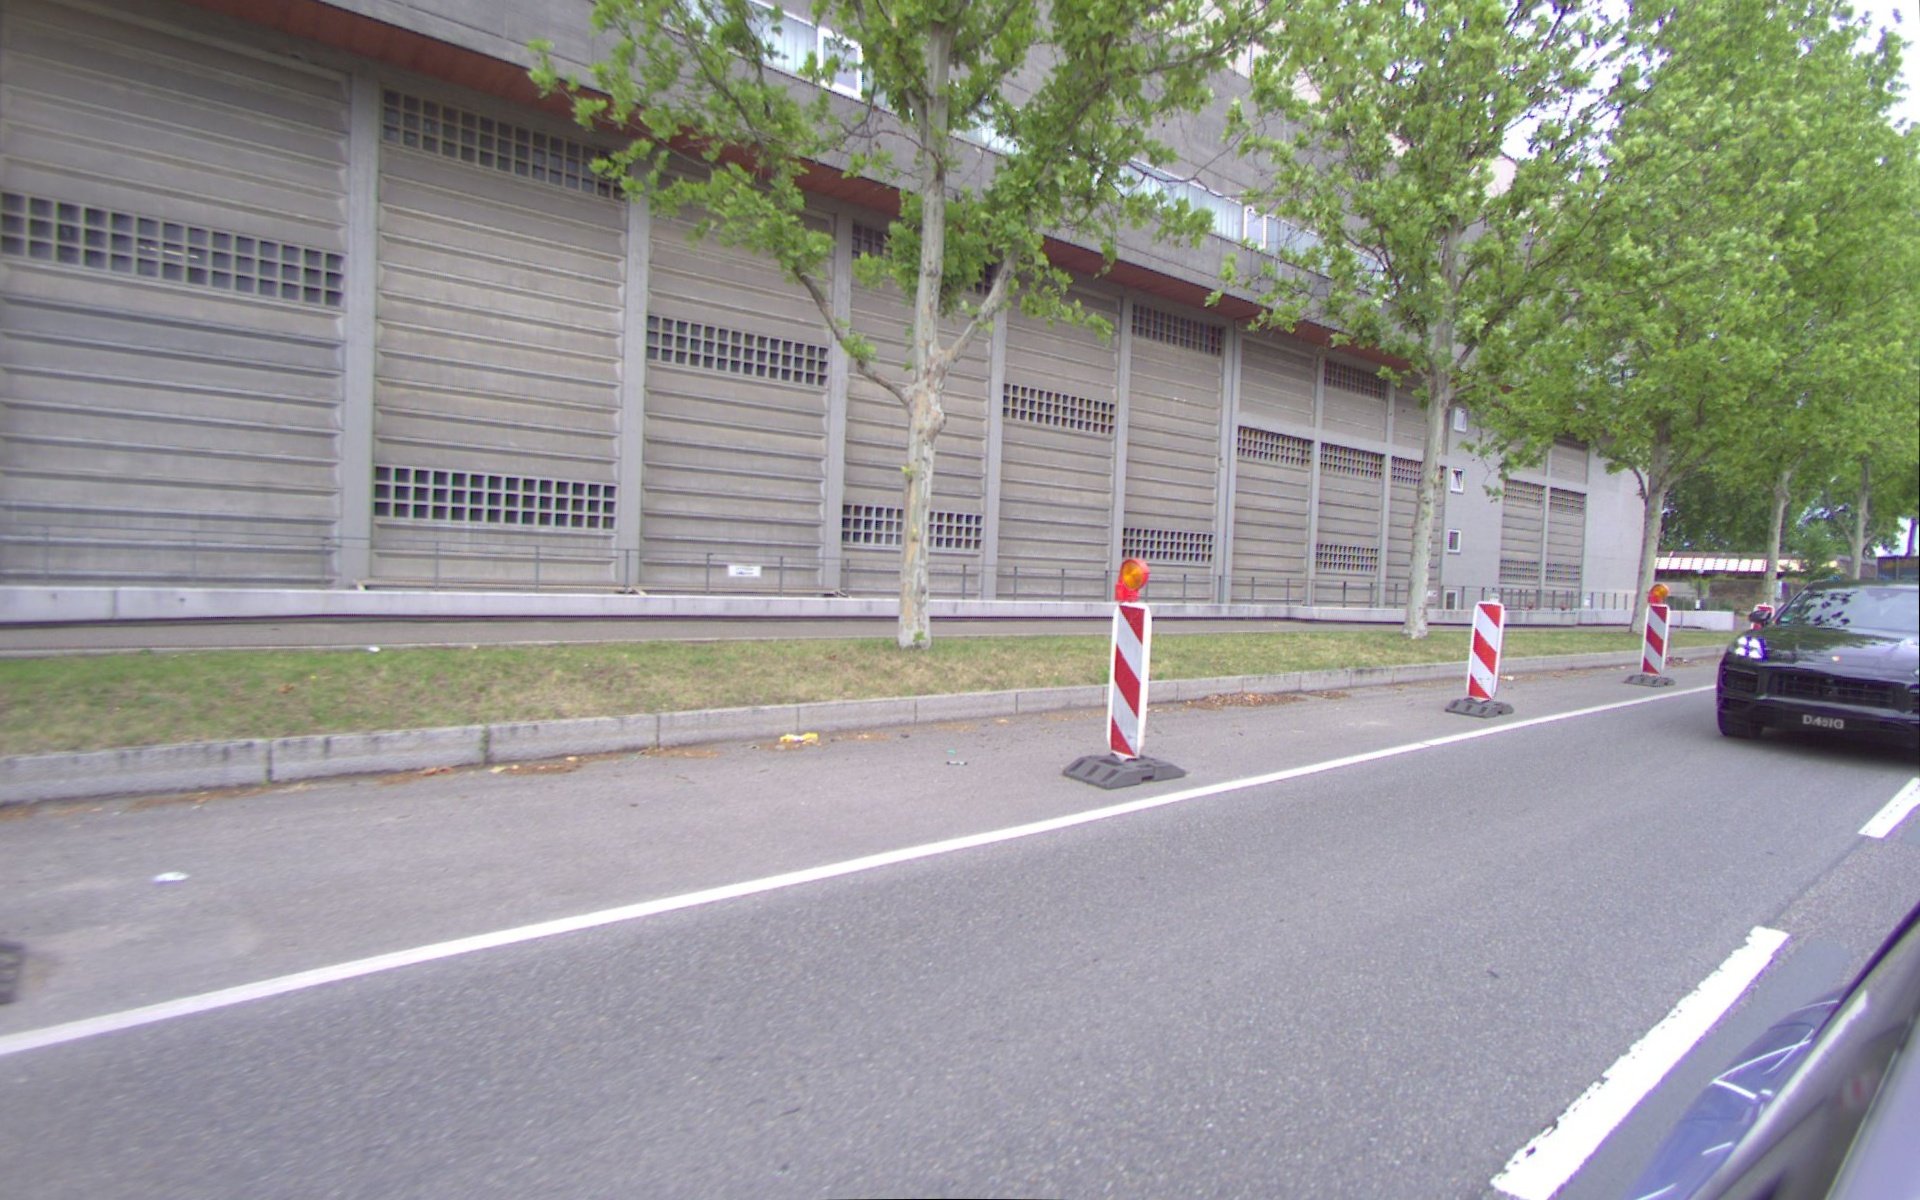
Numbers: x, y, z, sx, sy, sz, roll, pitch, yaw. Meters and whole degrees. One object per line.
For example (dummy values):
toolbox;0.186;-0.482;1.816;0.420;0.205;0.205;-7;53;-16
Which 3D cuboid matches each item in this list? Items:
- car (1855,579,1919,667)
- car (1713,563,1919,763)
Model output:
car;19.129;0.463;19.682;4.196;1.525;1.956;0;6;-41
car;9.615;0.481;10.353;4.525;1.667;1.956;-1;3;-39
